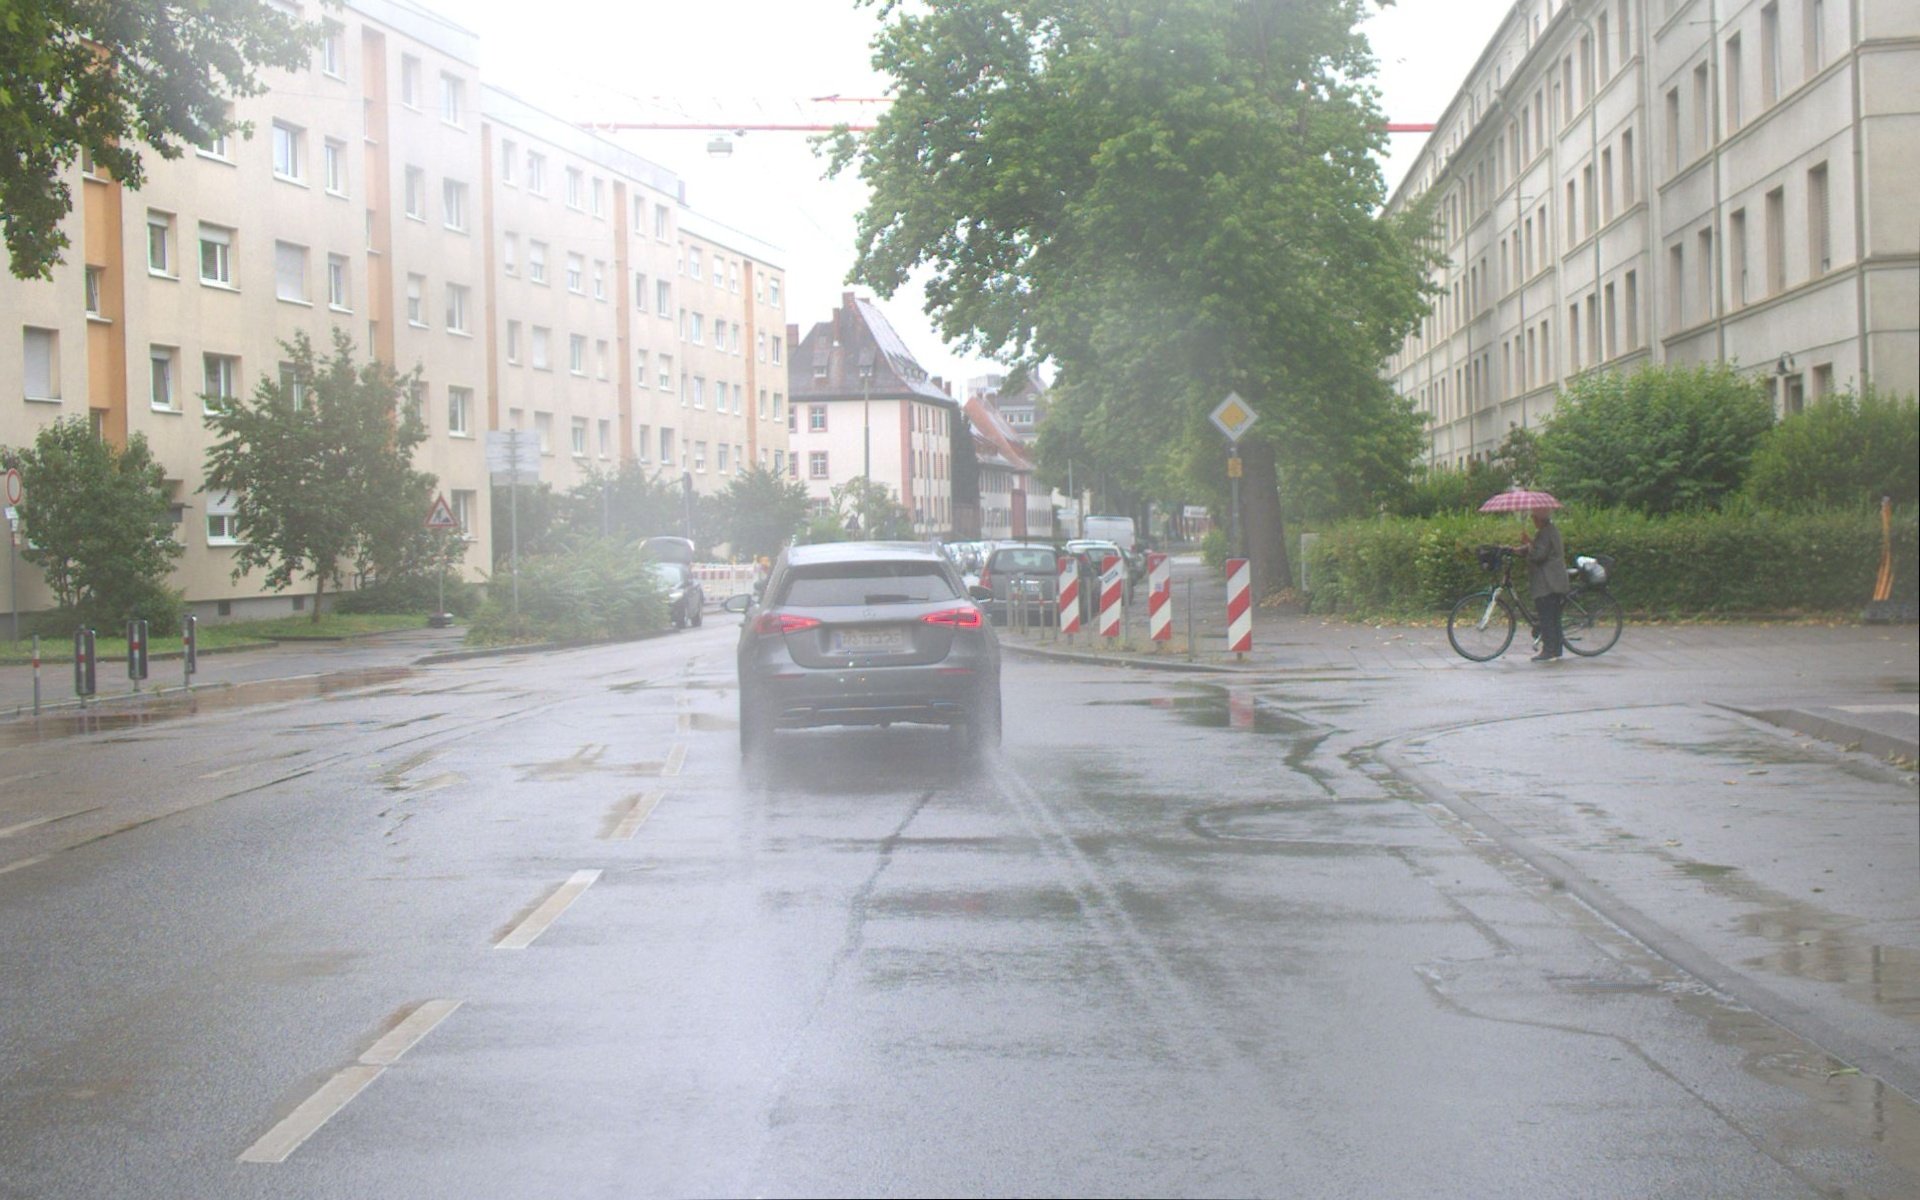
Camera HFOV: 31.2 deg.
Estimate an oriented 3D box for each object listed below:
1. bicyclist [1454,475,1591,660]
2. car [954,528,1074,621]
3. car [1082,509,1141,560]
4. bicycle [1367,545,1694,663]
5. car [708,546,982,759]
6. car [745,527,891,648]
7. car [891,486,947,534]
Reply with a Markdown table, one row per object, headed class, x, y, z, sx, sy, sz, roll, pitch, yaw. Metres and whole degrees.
| class | x | y | z | sx | sy | sz | roll | pitch | yaw |
| --- | --- | --- | --- | --- | --- | --- | --- | --- | --- |
| bicyclist | 5.826 | -0.343 | 35.642 | 0.938 | 1.862 | 1.143 | -2 | 1 | -18 |
| car | 0.936 | -0.469 | 62.111 | 1.993 | 1.568 | 4.000 | -2 | 1 | -1 |
| car | 5.764 | -2.469 | 130.310 | 2.047 | 1.830 | 4.791 | -2 | 1 | 4 |
| bicycle | 5.930 | 0.027 | 35.733 | 3.205 | 1.108 | 1.054 | -2 | 1 | -18 |
| car | -0.754 | 0.318 | 24.287 | 1.791 | 1.368 | 3.507 | 0 | 1 | 0 |
| car | -1.721 | -0.196 | 42.736 | 1.607 | 1.367 | 4.000 | -2 | 1 | 0 |
| car | -1.616 | -3.583 | 137.838 | 1.890 | 1.830 | 4.000 | -2 | 1 | 4 |
